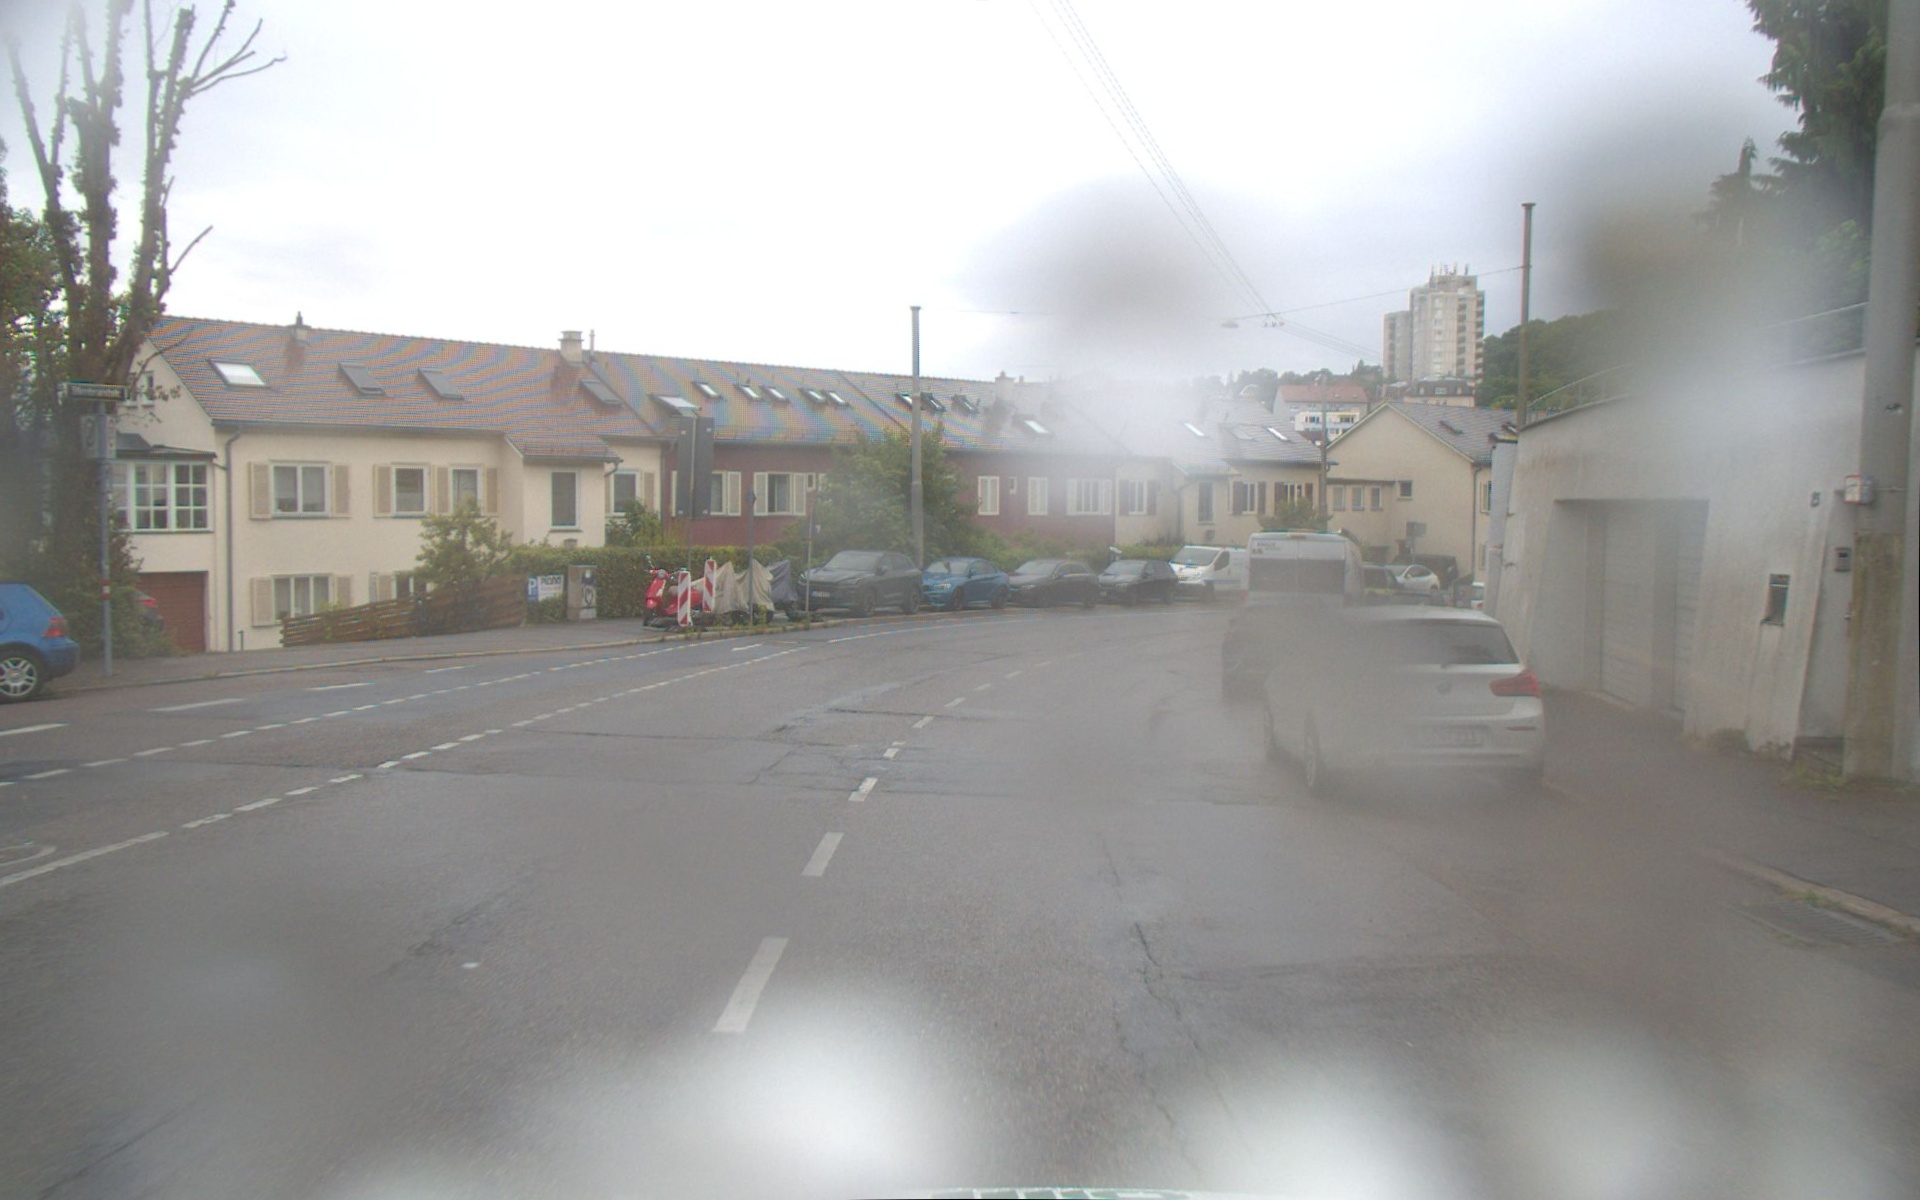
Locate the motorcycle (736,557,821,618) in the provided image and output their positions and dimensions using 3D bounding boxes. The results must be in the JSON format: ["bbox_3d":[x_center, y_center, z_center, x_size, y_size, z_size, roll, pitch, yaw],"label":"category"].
[{"bbox_3d":[-4.153,-0.285,37.831,1.865,1.293,0.574,3,3,-9],"label":"motorcycle"}]

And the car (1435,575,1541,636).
[{"bbox_3d":[15.924,0.135,49.790,1.773,1.677,4.194,4,3,36],"label":"car"}]

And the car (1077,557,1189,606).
[{"bbox_3d":[5.872,-0.622,55.685,1.778,1.502,4.507,5,3,34],"label":"car"}]

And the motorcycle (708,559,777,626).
[{"bbox_3d":[-4.797,-0.171,36.424,0.607,1.325,1.783,1,4,-39],"label":"motorcycle"}]

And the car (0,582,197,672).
[{"bbox_3d":[-14.402,0.400,26.628,1.525,1.350,3.546,0,1,39],"label":"car"}]

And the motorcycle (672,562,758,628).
[{"bbox_3d":[-5.263,-0.122,35.495,1.765,1.301,0.511,3,2,22],"label":"motorcycle"}]

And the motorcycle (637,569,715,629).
[{"bbox_3d":[-5.797,-0.039,33.883,0.500,1.159,1.919,0,2,29],"label":"motorcycle"}]

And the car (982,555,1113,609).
[{"bbox_3d":[2.745,-0.558,51.055,1.779,1.502,4.503,5,3,37],"label":"car"}]

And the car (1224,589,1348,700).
[{"bbox_3d":[5.136,0.614,25.762,1.716,1.522,4.188,1,1,13],"label":"car"}]

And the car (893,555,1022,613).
[{"bbox_3d":[-0.021,-0.484,46.379,1.667,1.428,4.467,5,4,28],"label":"car"}]

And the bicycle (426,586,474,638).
[{"bbox_3d":[-10.760,0.257,34.882,1.279,1.053,0.303,-3,-4,39],"label":"bicycle"}]

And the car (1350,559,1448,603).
[{"bbox_3d":[18.786,-0.806,70.719,4.643,1.659,1.904,1,3,-45],"label":"car"}]

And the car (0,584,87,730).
[{"bbox_3d":[-12.536,0.647,19.343,3.898,1.695,1.819,1,-1,-36],"label":"car"}]

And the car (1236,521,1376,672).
[{"bbox_3d":[6.642,-0.085,31.247,2.054,2.587,5.623,1,0,17],"label":"car"}]

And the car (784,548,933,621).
[{"bbox_3d":[-2.487,-0.434,41.639,1.883,1.604,4.387,5,3,23],"label":"car"}]

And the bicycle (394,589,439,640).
[{"bbox_3d":[-11.779,0.319,35.822,1.304,1.053,0.303,-3,-4,41],"label":"bicycle"}]

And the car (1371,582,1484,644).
[{"bbox_3d":[12.745,0.334,44.928,1.650,1.509,4.187,5,3,34],"label":"car"}]

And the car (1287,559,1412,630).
[{"bbox_3d":[12.008,-0.190,50.814,2.269,1.973,4.310,4,3,35],"label":"car"}]

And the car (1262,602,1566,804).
[{"bbox_3d":[3.630,0.740,13.917,1.669,1.439,4.043,0,0,3],"label":"car"}]

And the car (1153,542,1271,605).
[{"bbox_3d":[9.259,-0.951,60.408,1.821,2.114,4.993,5,3,40],"label":"car"}]
